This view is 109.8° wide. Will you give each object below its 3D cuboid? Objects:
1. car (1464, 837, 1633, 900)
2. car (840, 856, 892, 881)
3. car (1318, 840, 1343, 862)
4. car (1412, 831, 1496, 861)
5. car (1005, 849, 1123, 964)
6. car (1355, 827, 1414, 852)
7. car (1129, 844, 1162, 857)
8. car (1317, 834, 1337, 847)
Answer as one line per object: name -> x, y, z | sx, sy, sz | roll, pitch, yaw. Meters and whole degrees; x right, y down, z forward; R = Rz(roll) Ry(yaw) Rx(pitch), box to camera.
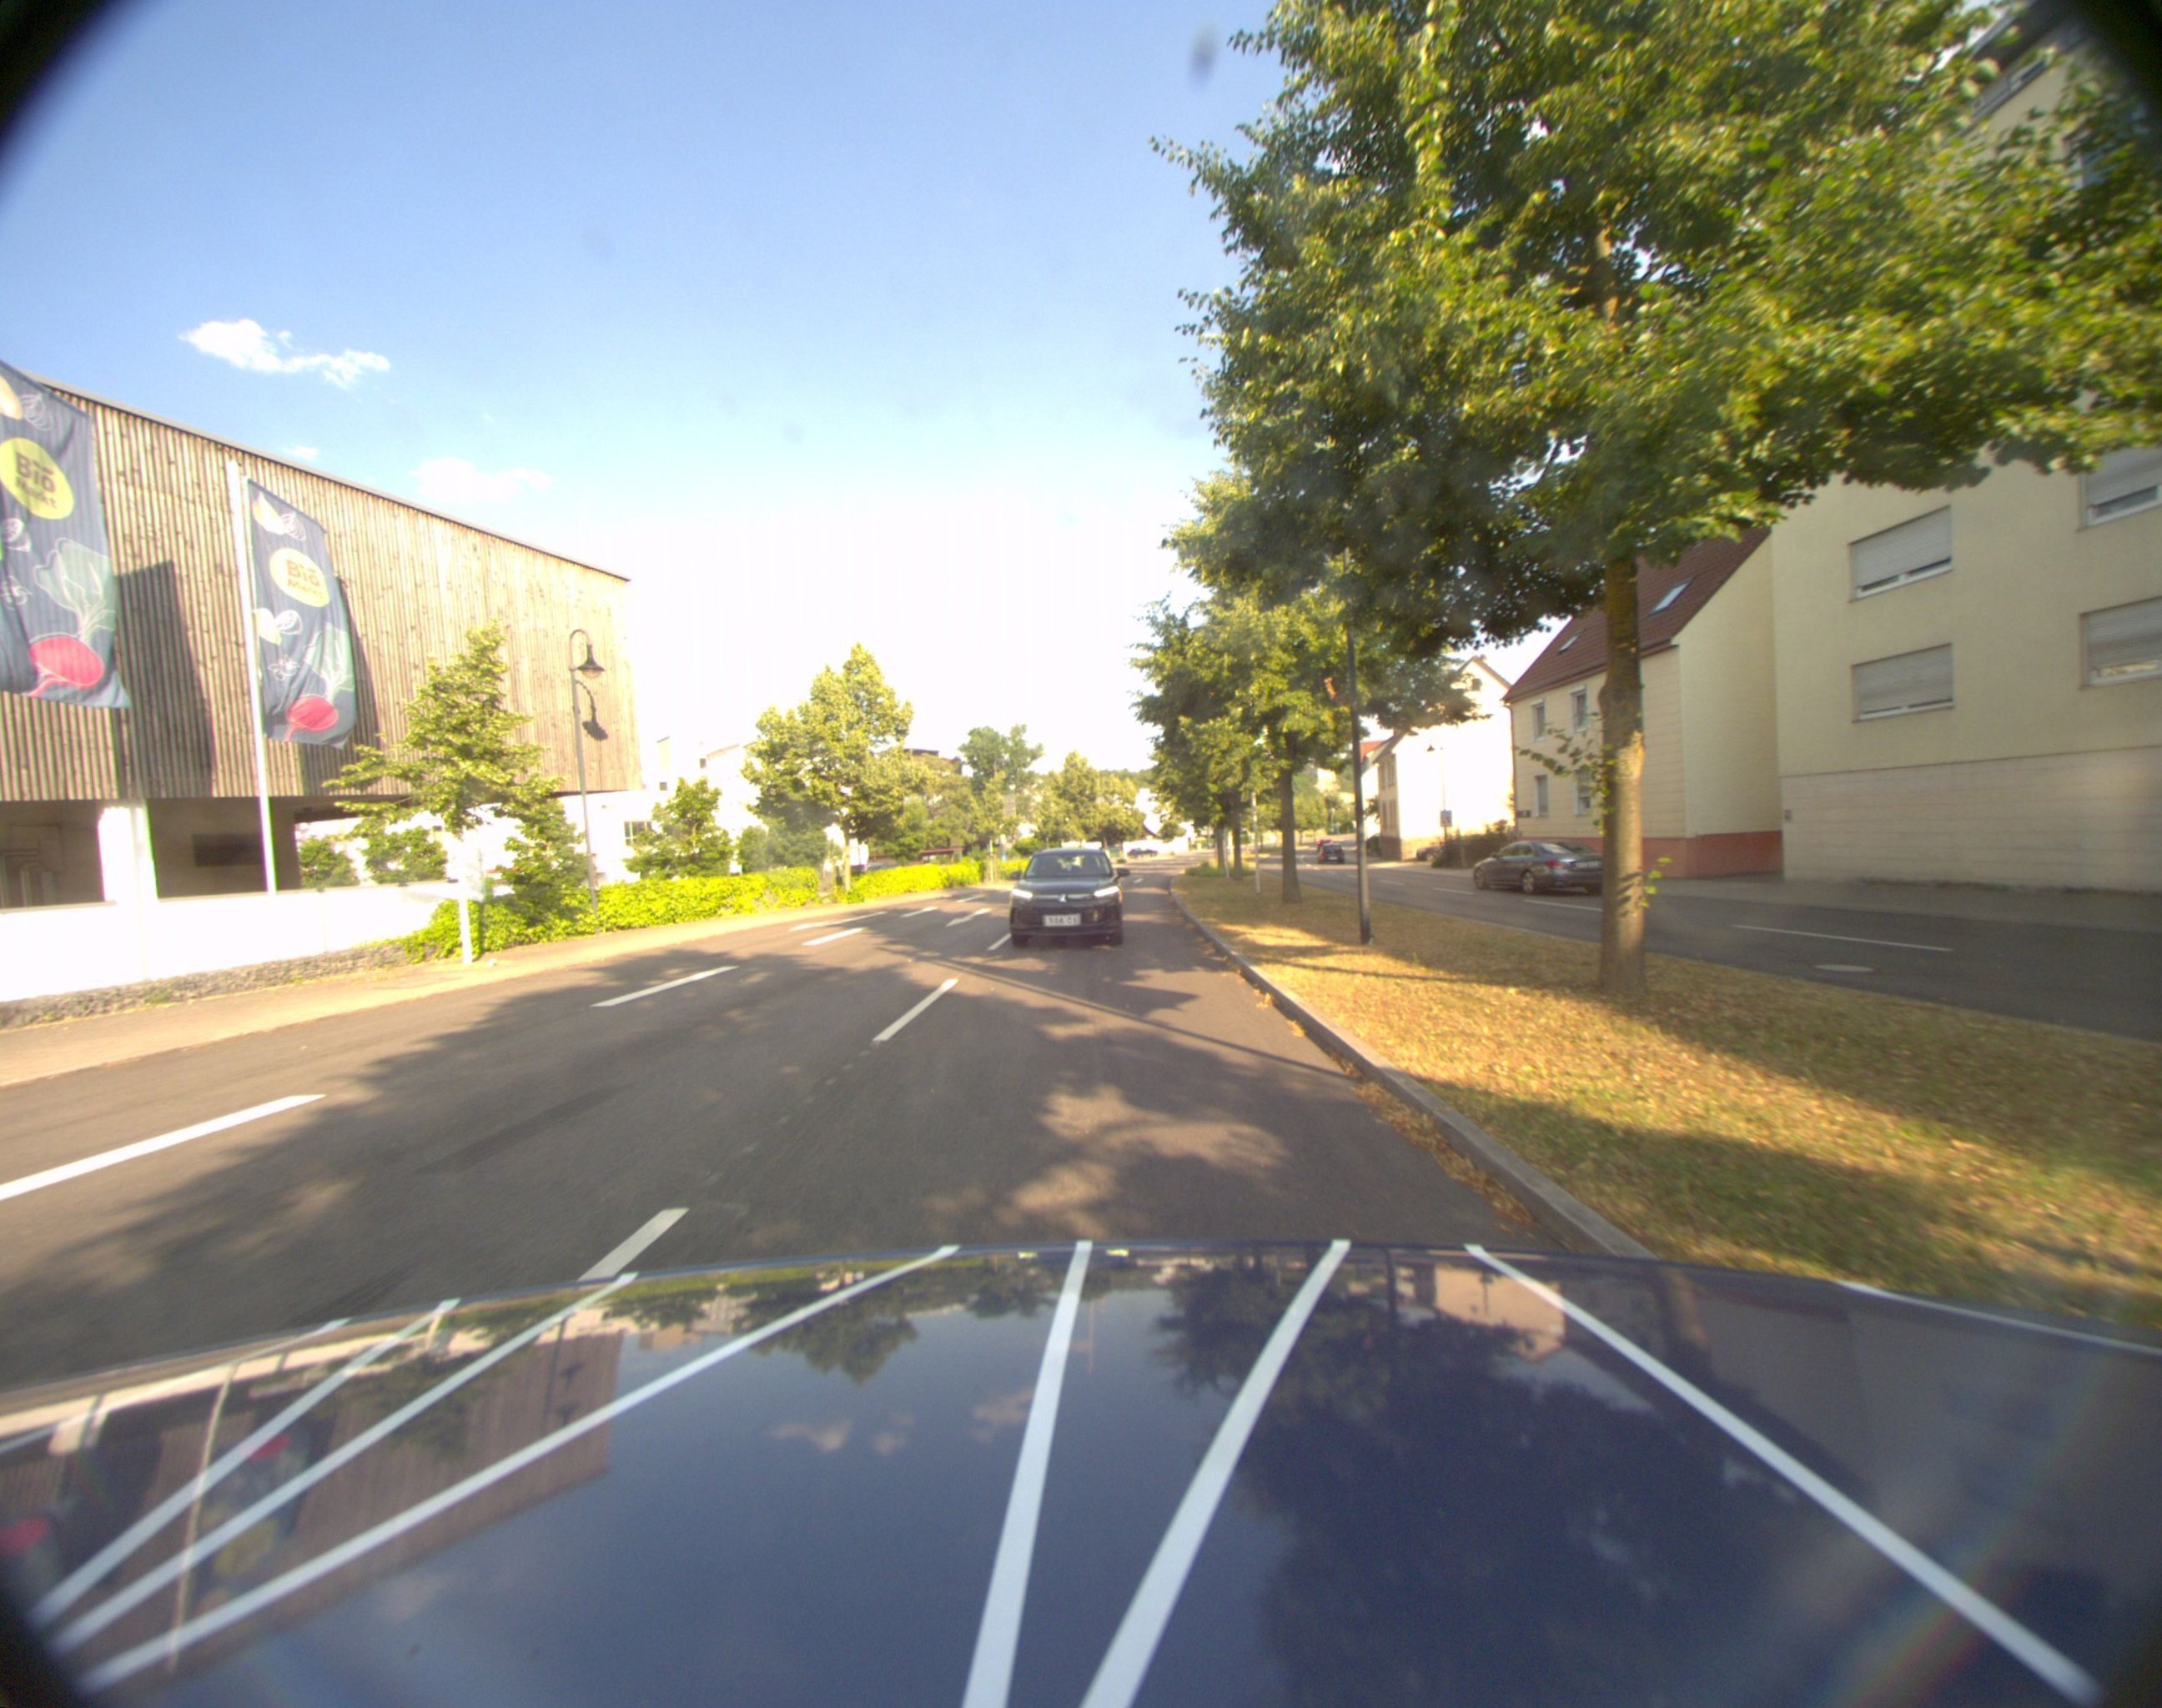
car -> 12.730, 0.314, 21.154 | 1.856, 1.477, 4.996 | -2, 1, 4
car -> -18.211, 1.185, 64.696 | 1.996, 1.844, 4.651 | -3, 1, 16
car -> 18.074, -0.211, 54.977 | 1.607, 1.477, 3.788 | -2, 1, 18
car -> 22.351, -0.476, 45.715 | 4.350, 1.477, 2.014 | -3, 1, 24
car -> -0.207, 0.780, 13.550 | 1.725, 1.605, 4.260 | -2, 1, 1
car -> 27.512, -1.347, 69.087 | 4.830, 1.866, 2.002 | -5, 1, 20
car -> 8.493, -0.444, 100.042 | 3.830, 1.412, 1.940 | -3, 1, 21
car -> 28.214, -1.557, 87.058 | 1.942, 1.477, 4.330 | -2, 1, 20
